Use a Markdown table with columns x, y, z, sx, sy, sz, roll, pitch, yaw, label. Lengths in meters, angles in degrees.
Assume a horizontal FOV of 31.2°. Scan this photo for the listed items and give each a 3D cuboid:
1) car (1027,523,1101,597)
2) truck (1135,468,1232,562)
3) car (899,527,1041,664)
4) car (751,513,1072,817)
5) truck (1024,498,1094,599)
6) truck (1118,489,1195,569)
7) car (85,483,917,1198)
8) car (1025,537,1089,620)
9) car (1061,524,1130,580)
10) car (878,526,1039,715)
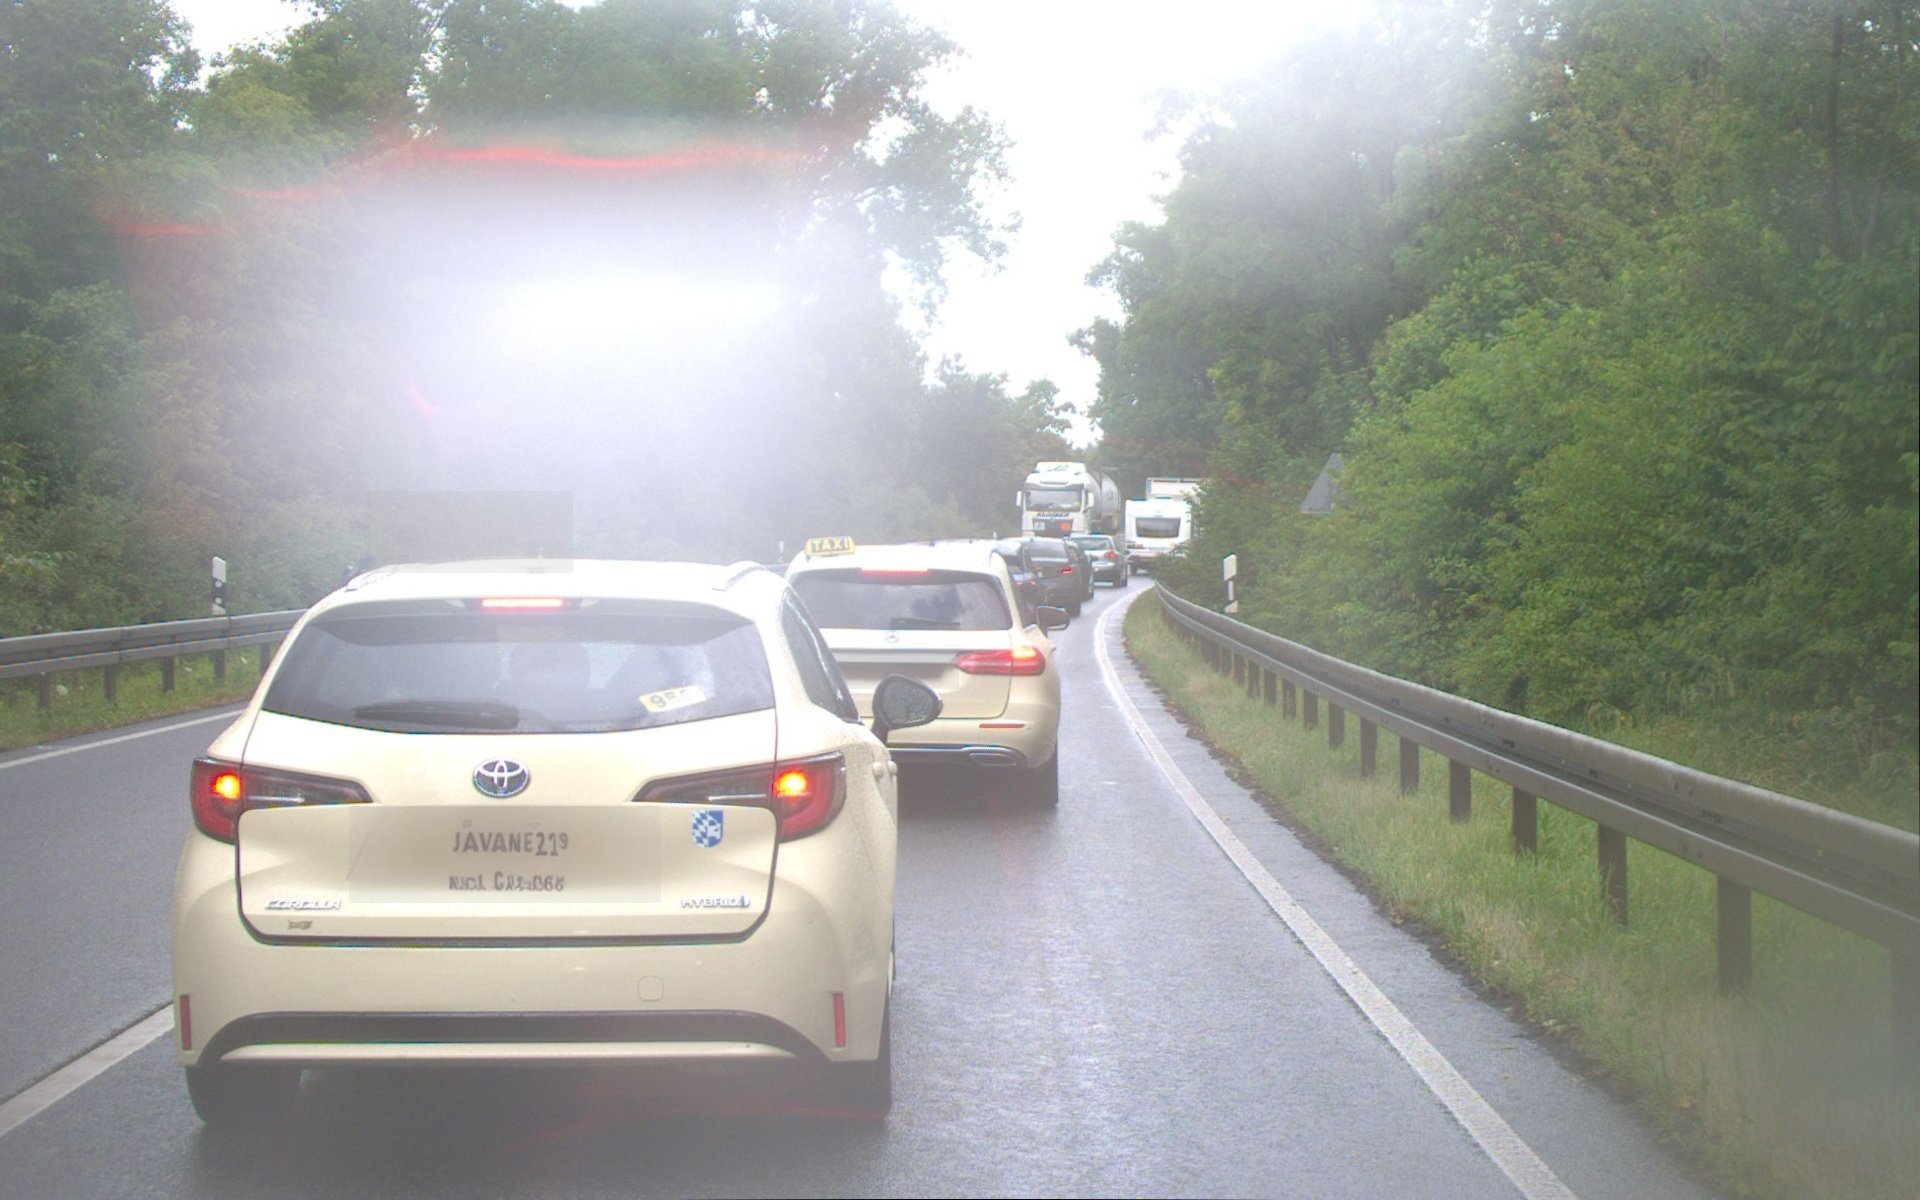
| x | y | z | sx | sy | sz | roll | pitch | yaw | label |
| --- | --- | --- | --- | --- | --- | --- | --- | --- | --- |
| 2.345 | -0.900 | 77.930 | 1.616 | 1.607 | 3.621 | 1 | 1 | 1 | car |
| 9.044 | -3.383 | 138.562 | 3.108 | 3.668 | 6.997 | 1 | 1 | 10 | truck |
| 0.157 | -0.090 | 40.857 | 1.611 | 1.541 | 3.814 | 0 | 1 | 1 | car |
| -0.220 | 0.322 | 20.055 | 1.667 | 1.575 | 3.892 | 1 | 1 | 1 | car |
| 3.811 | -1.973 | 133.571 | 2.536 | 3.812 | 5.245 | 1 | 1 | 0 | truck |
| 6.845 | -2.438 | 120.237 | 2.550 | 2.704 | 7.534 | 1 | 1 | 3 | truck |
| -1.051 | 0.518 | 9.759 | 1.833 | 1.575 | 4.157 | 1 | 1 | -1 | car |
| 1.866 | -0.410 | 65.907 | 1.167 | 1.541 | 2.604 | 1 | 1 | 2 | car |
| 3.870 | -1.363 | 97.838 | 1.770 | 1.541 | 3.813 | 1 | 1 | 5 | car |
| -0.031 | 0.151 | 29.983 | 1.300 | 1.541 | 3.260 | 1 | 1 | -1 | car |
